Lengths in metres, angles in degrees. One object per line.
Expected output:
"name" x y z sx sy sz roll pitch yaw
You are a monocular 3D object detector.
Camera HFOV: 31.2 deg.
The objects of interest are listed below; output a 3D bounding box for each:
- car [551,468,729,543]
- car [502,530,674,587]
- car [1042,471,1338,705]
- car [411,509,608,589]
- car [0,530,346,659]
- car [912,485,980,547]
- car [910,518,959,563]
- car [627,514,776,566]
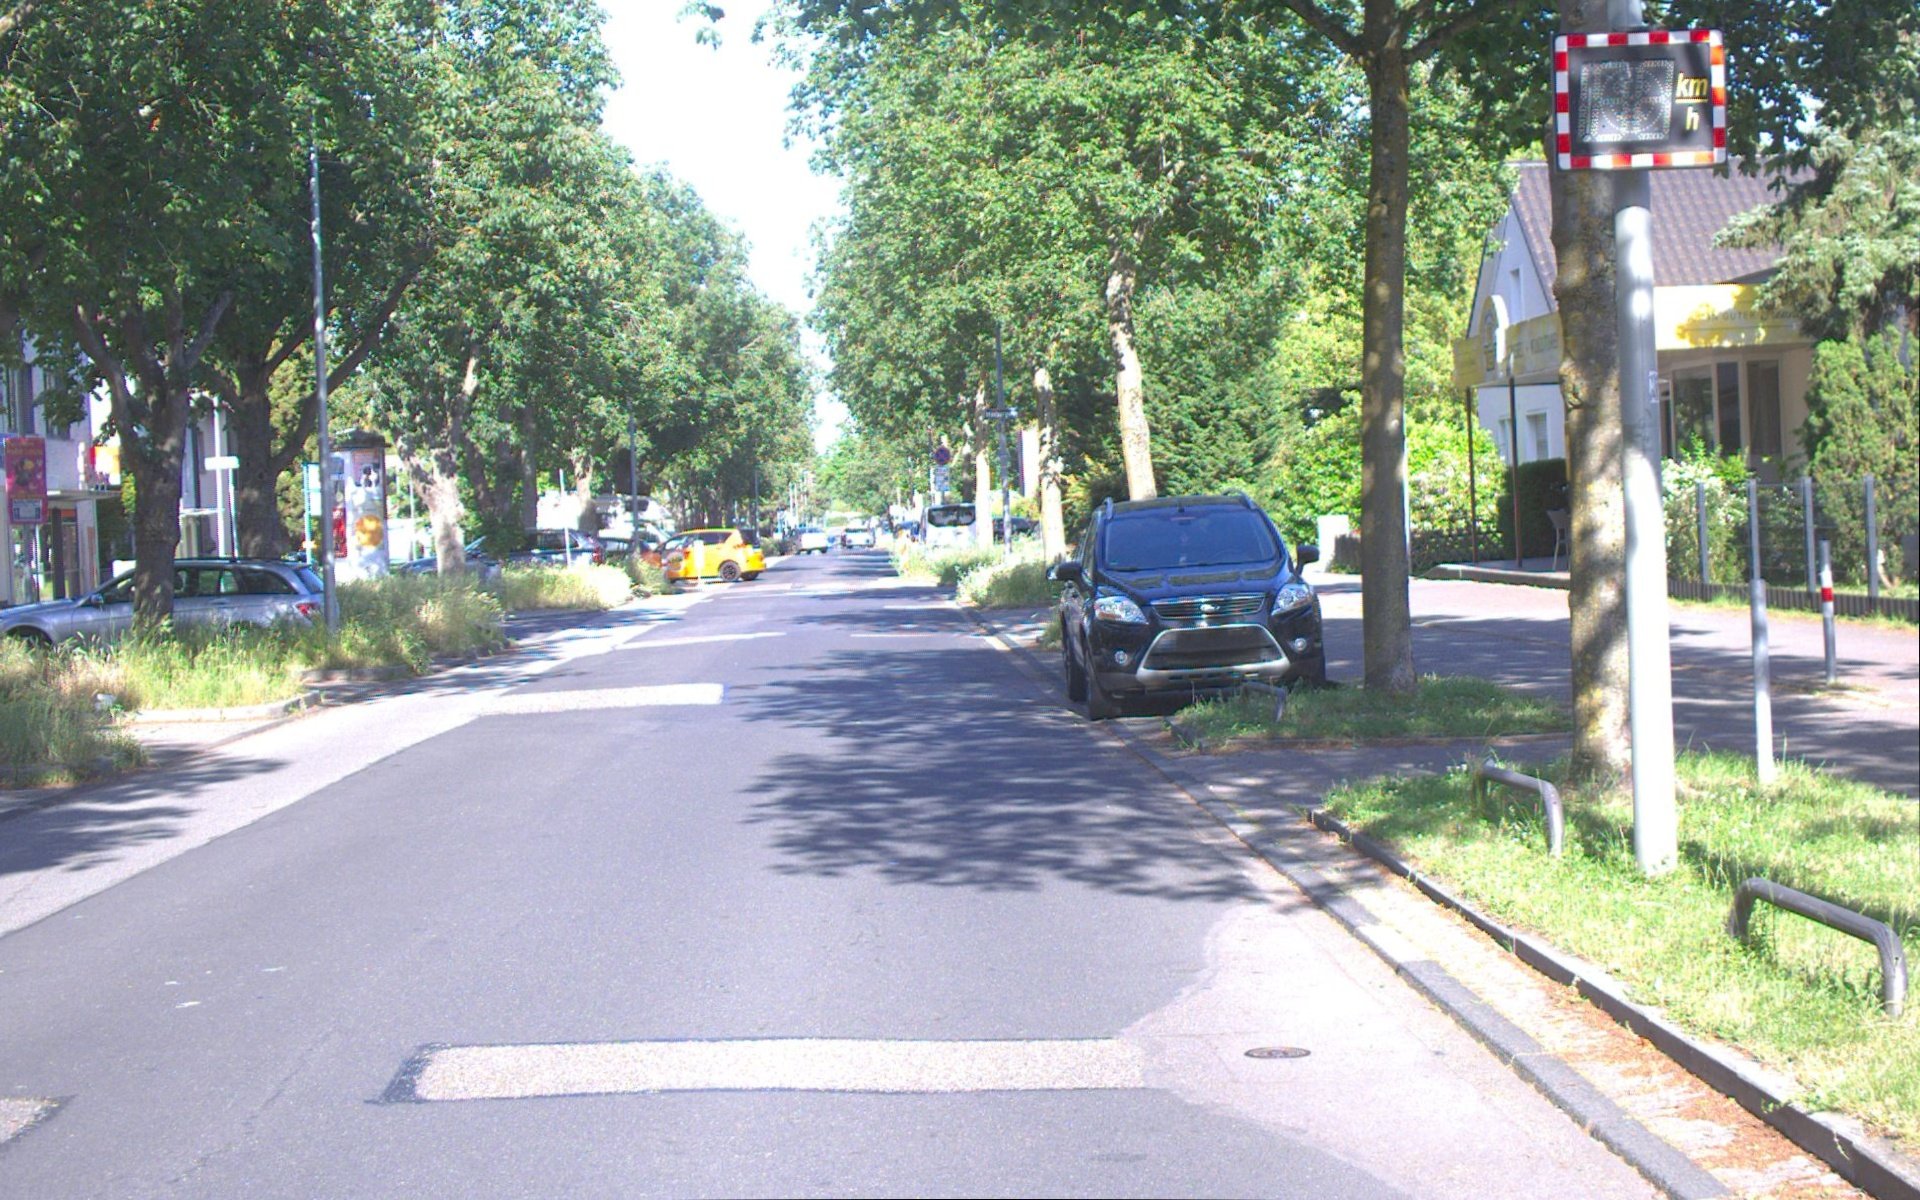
"car" -10.146 -3.021 109.369 5.497 2.239 2.517 -1 3 -3
"car" -9.474 -1.063 87.629 4.286 1.310 1.910 -1 3 -6
"car" 1.764 -0.120 27.773 1.853 1.620 4.470 -4 1 -2
"car" -10.638 -1.222 81.506 4.545 1.759 2.001 -1 3 -6
"car" -10.298 -0.083 43.956 4.554 1.506 1.841 -1 3 -1
"car" -0.445 -2.450 100.564 1.902 1.768 4.301 -1 1 -1
"car" -1.034 -2.422 138.831 1.902 1.768 4.301 -1 1 -1
"car" -7.494 -1.749 99.658 3.878 1.474 1.892 0 1 17
